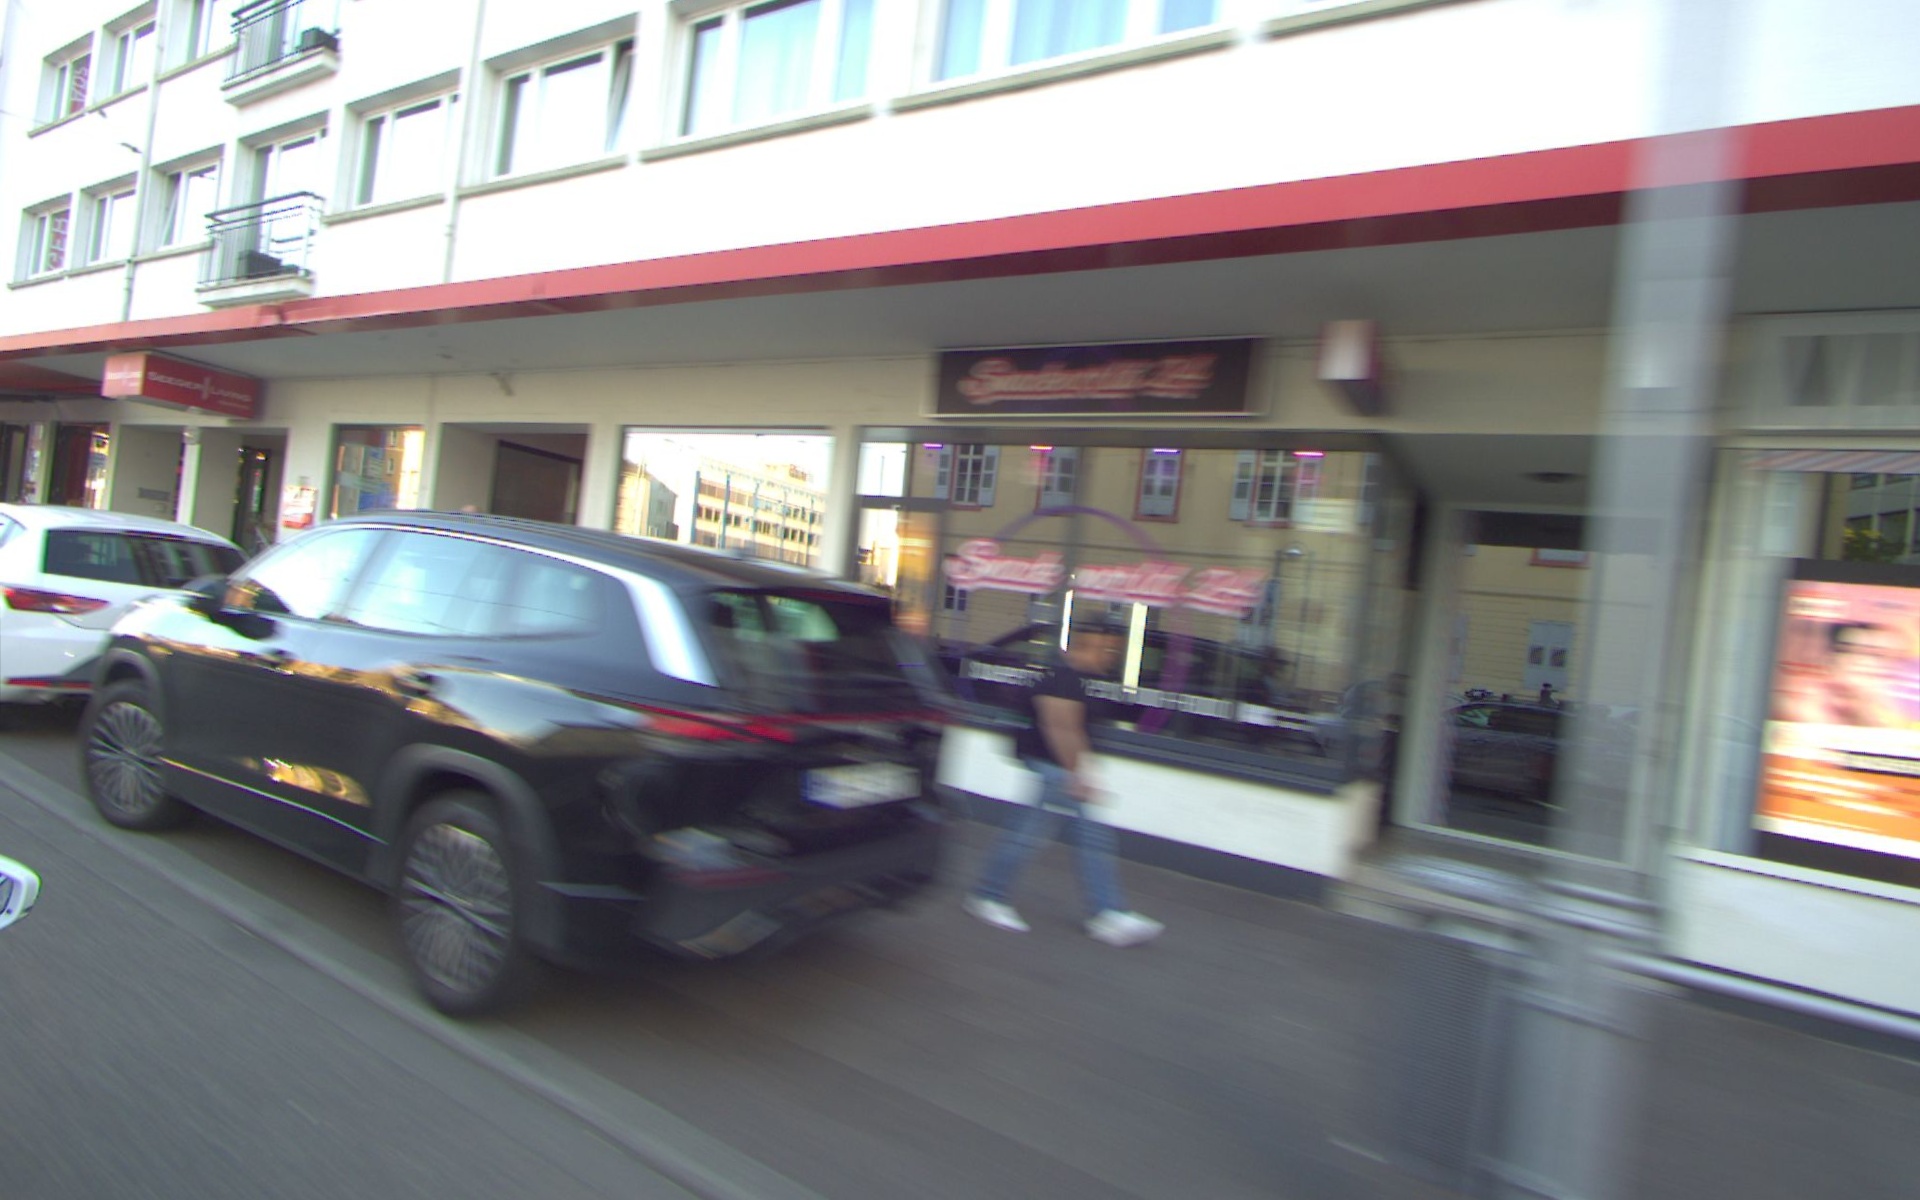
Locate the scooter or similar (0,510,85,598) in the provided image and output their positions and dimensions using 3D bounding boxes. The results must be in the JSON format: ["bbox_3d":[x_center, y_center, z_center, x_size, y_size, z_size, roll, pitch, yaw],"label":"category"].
[{"bbox_3d":[-14.311,-0.728,15.304,1.416,1.209,0.334,7,1,-15],"label":"scooter or similar"}]

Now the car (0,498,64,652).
[{"bbox_3d":[-11.338,-0.517,10.348,4.610,1.428,1.794,6,-3,32],"label":"car"}]

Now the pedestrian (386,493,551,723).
[{"bbox_3d":[-4.406,0.075,9.031,0.919,1.903,0.775,7,0,30],"label":"pedestrian"}]

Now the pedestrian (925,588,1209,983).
[{"bbox_3d":[0.522,0.814,4.821,0.950,1.593,0.734,7,0,31],"label":"pedestrian"}]

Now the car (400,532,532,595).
[{"bbox_3d":[-19.975,-1.467,40.741,4.401,1.772,1.901,9,0,-36],"label":"car"}]

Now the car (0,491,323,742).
[{"bbox_3d":[-6.791,0.007,7.534,4.122,1.436,1.655,6,-3,32],"label":"car"}]

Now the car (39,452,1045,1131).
[{"bbox_3d":[-2.058,0.437,4.577,4.345,1.720,1.860,6,-3,31],"label":"car"}]
